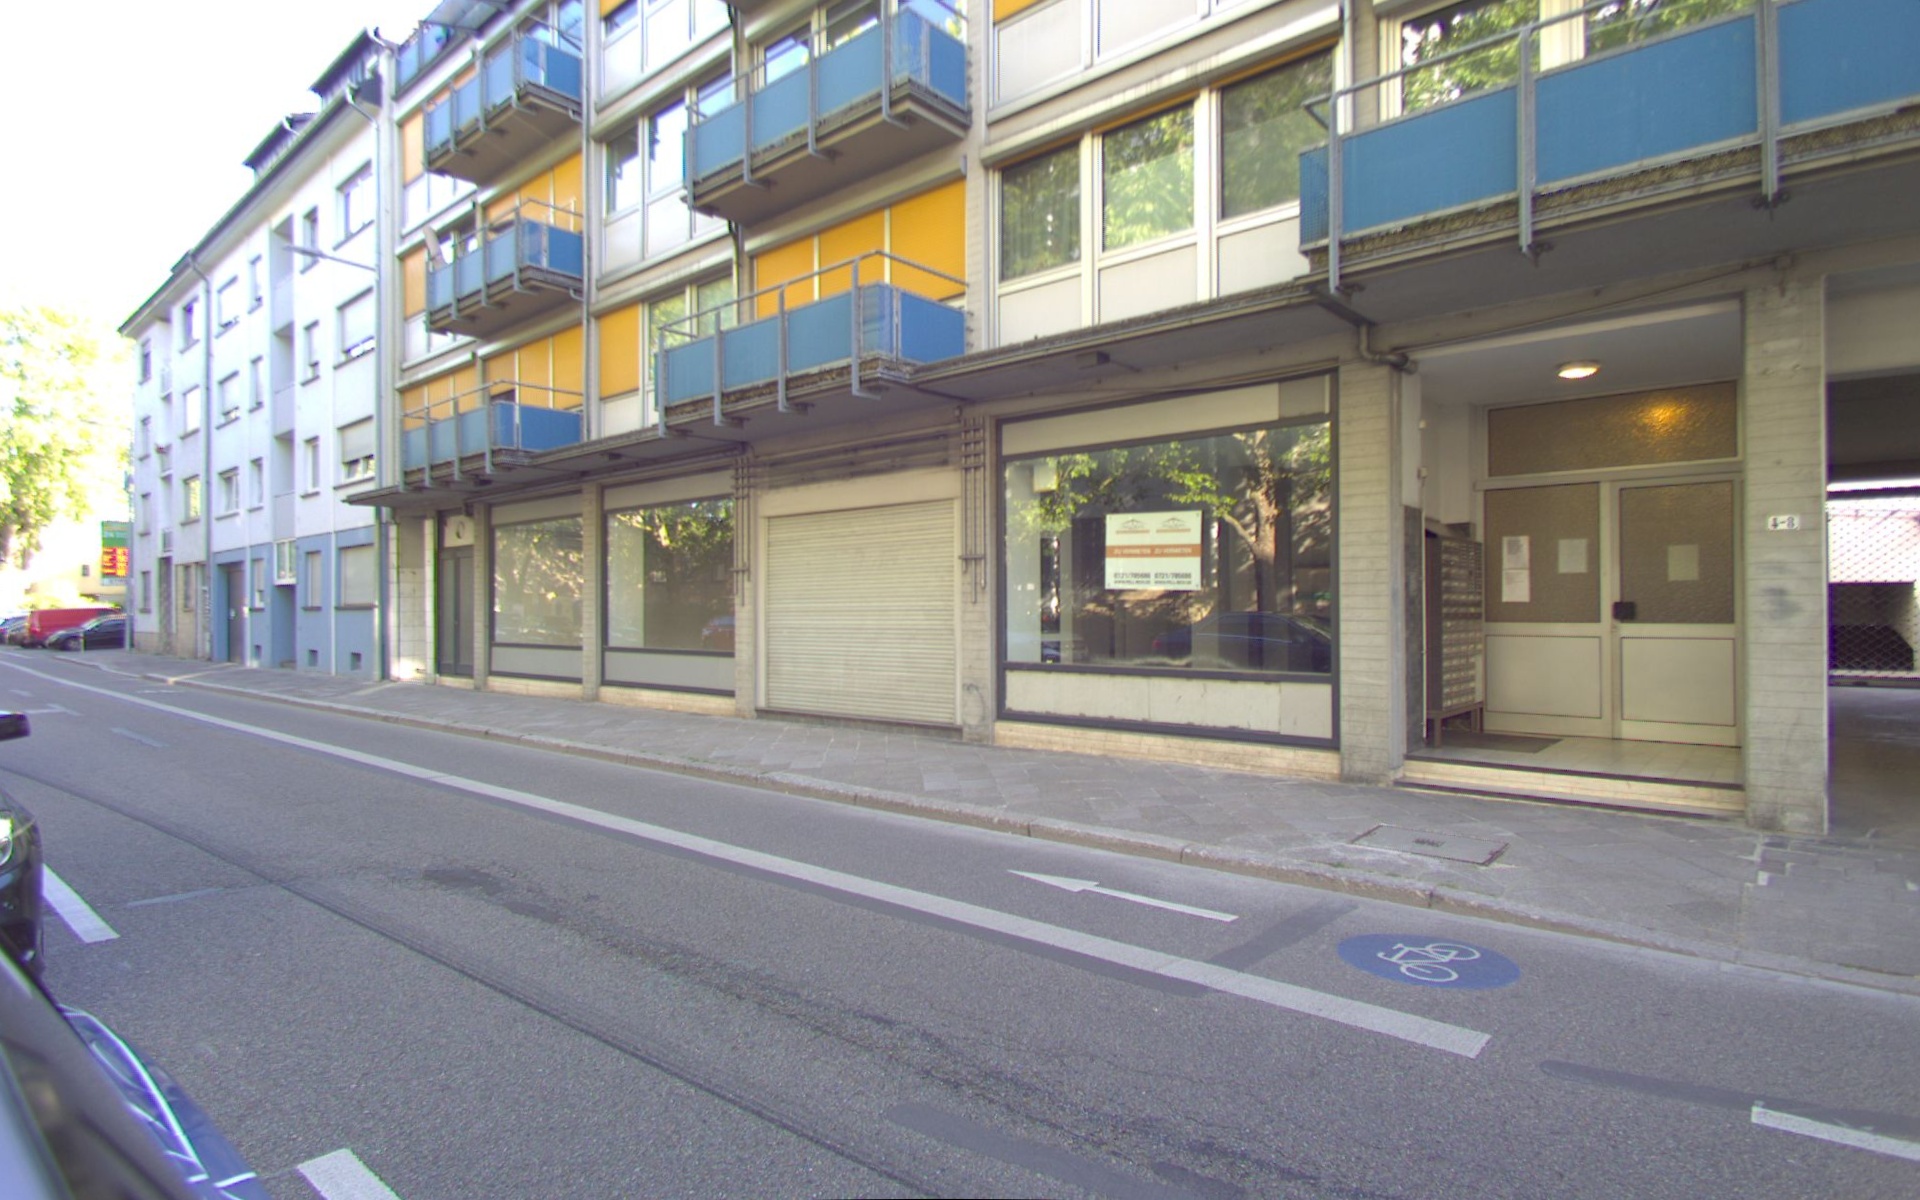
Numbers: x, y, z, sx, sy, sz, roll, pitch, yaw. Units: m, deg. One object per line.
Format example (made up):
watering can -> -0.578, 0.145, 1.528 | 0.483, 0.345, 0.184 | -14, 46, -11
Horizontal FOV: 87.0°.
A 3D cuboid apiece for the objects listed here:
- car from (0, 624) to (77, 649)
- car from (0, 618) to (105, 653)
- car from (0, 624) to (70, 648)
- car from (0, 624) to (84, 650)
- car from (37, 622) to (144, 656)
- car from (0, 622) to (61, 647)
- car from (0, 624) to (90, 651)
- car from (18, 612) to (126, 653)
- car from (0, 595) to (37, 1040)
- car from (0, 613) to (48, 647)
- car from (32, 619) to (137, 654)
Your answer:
car -> -55.374, 2.179, 60.441 | 1.525, 1.343, 3.854 | -1, 0, 42
car -> -46.048, 1.783, 51.405 | 1.603, 1.598, 3.854 | -1, 0, 42
car -> -57.180, 2.203, 62.003 | 1.525, 1.343, 3.854 | -1, 0, 42
car -> -53.358, 2.118, 58.562 | 1.594, 1.385, 3.854 | -1, 0, 42
car -> -39.790, 1.748, 46.353 | 1.534, 1.420, 3.551 | -2, -1, 42
car -> -59.210, 2.191, 63.760 | 1.539, 1.451, 3.733 | -1, 0, 42
car -> -51.844, 2.099, 57.223 | 1.594, 1.385, 3.854 | -1, 0, 42
car -> -43.701, 1.567, 49.867 | 1.749, 1.921, 3.854 | -1, -1, 42
car -> -5.426, 0.768, 4.211 | 4.291, 1.515, 1.805 | -1, 0, 40
car -> -62.709, 1.970, 66.591 | 1.725, 2.193, 3.854 | -1, 0, 42
car -> -41.508, 1.703, 48.050 | 1.602, 1.521, 3.620 | -1, 0, 42
